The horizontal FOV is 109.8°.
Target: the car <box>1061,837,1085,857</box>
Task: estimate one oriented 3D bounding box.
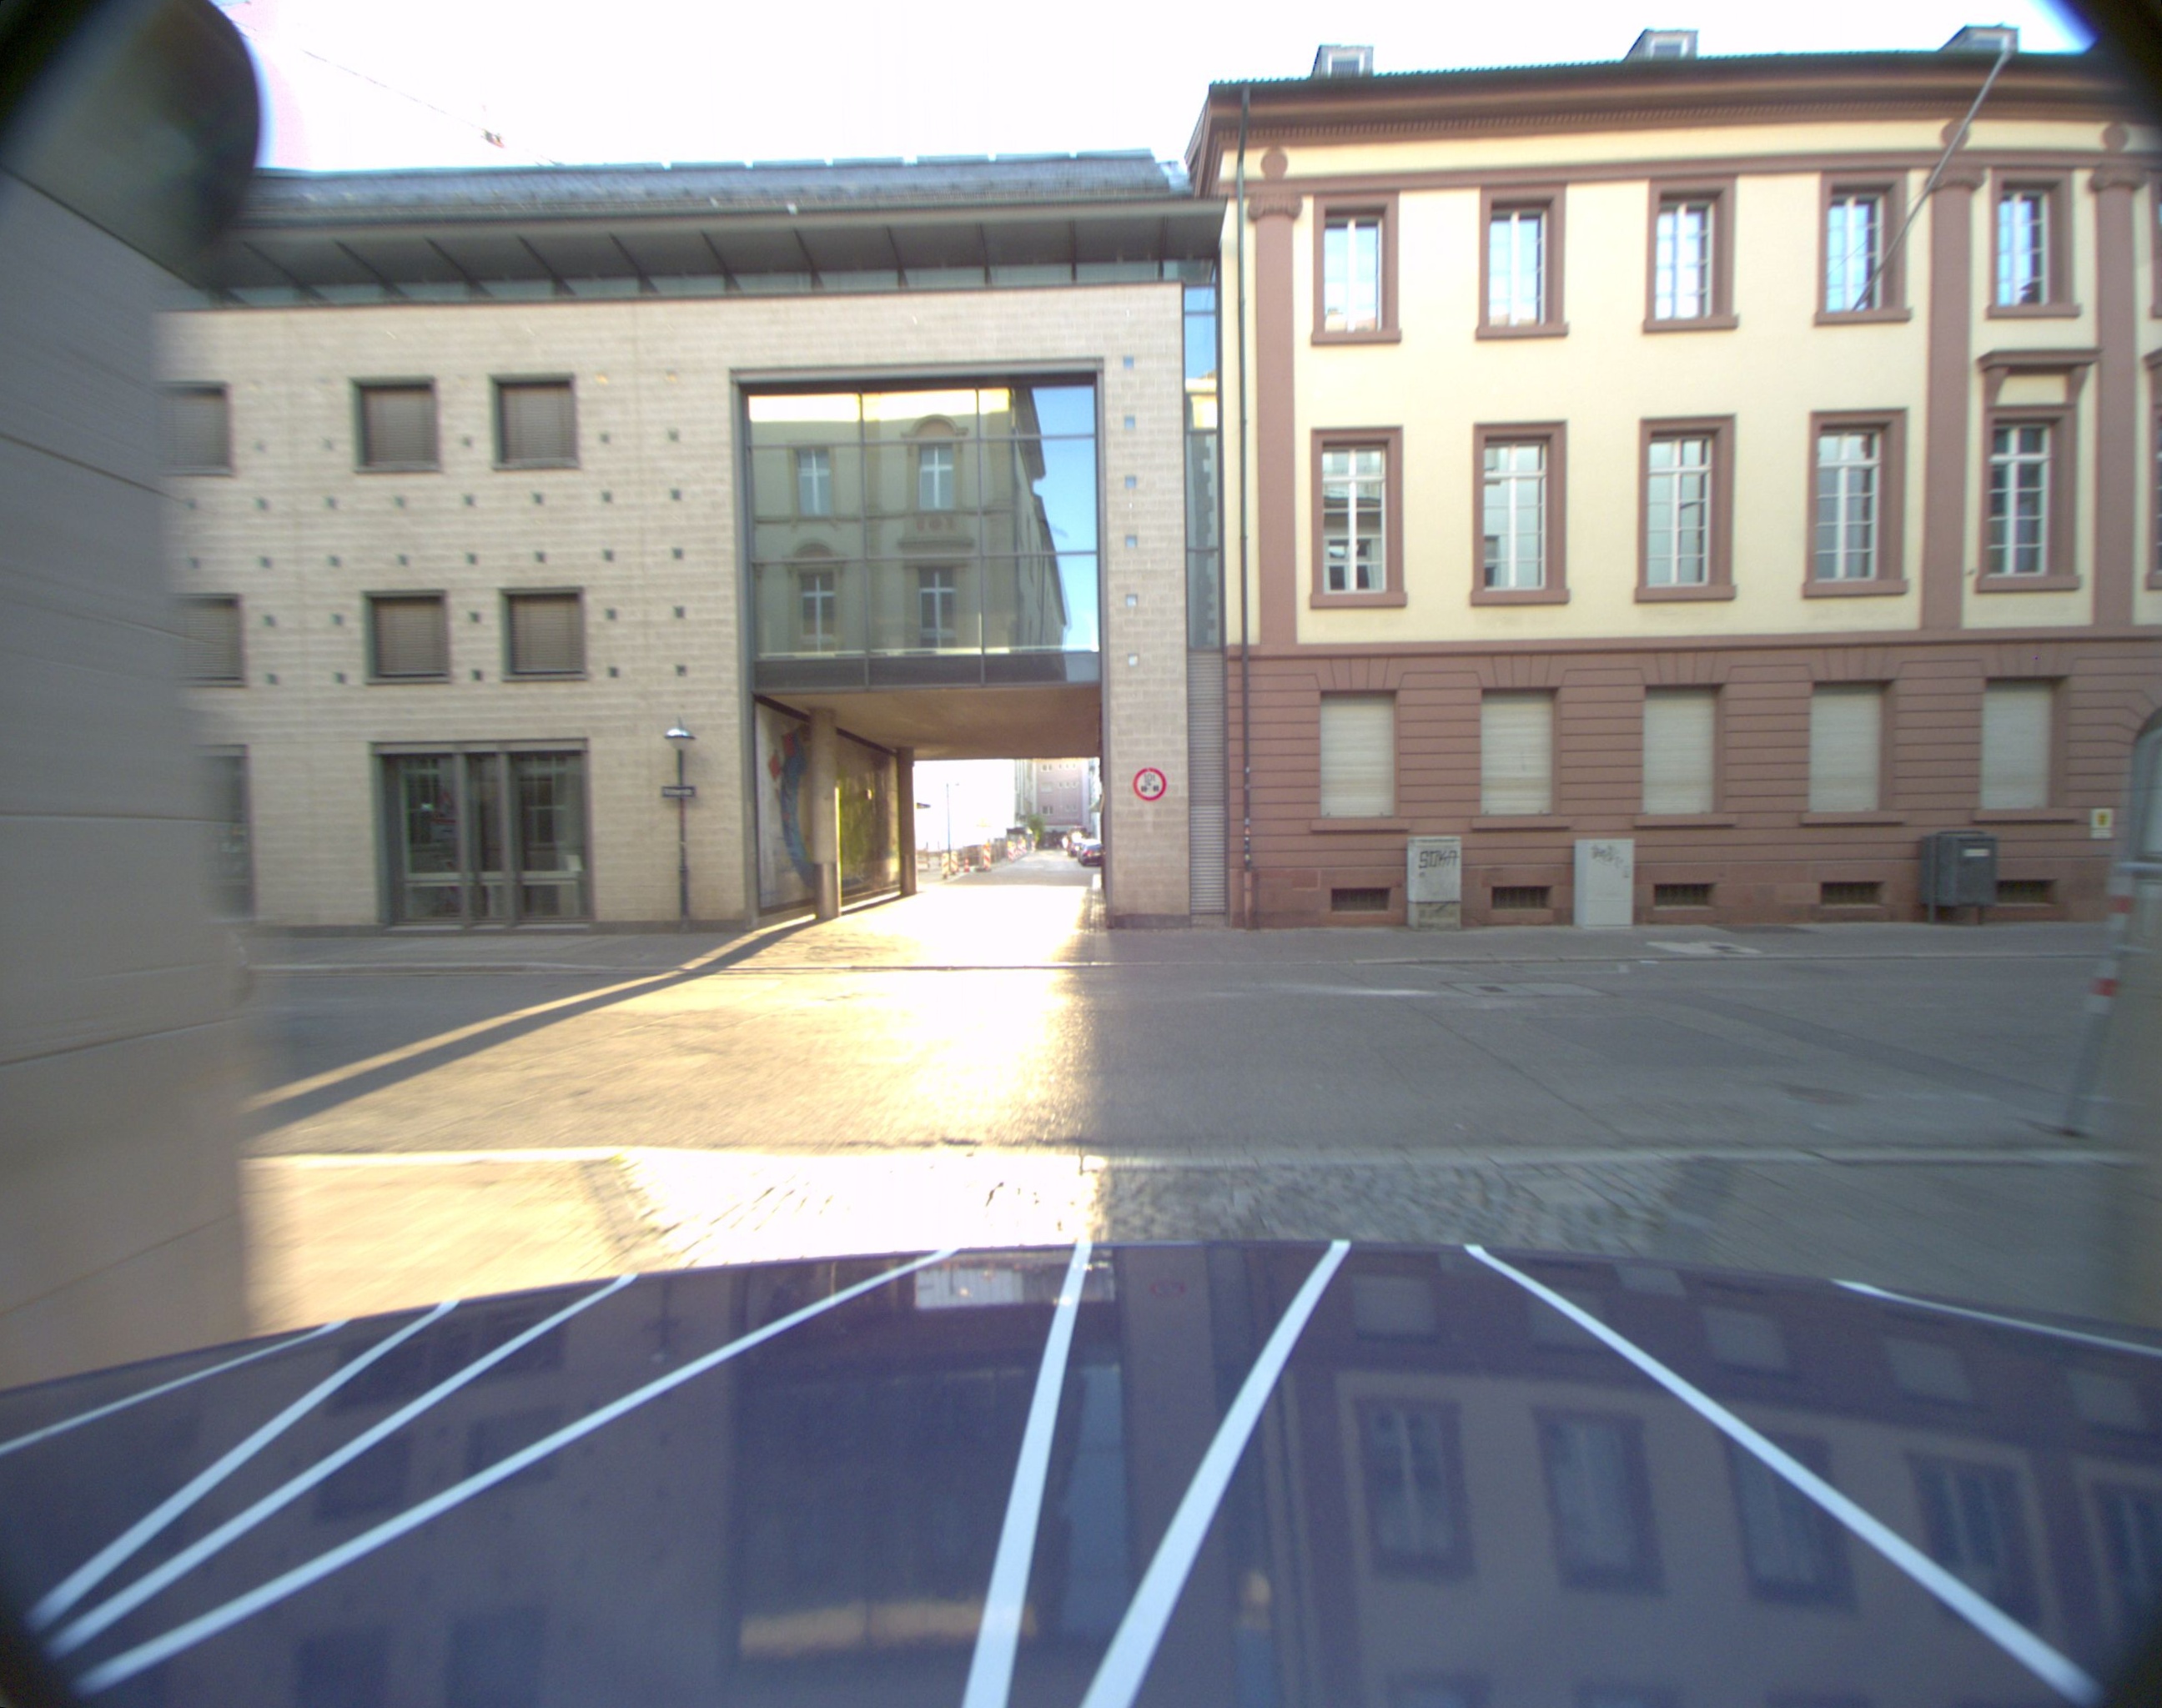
[{"bbox_3d":[-0.697,-0.620,63.872,1.601,1.485,3.441,-1,3,-6],"label":"car"}]

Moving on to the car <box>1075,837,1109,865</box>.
[{"bbox_3d":[0.597,-0.223,44.915,1.601,1.485,3.441,-1,3,-6],"label":"car"}]

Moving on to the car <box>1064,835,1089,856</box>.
[{"bbox_3d":[-0.365,-0.668,58.703,1.601,1.485,3.441,-1,3,-6],"label":"car"}]

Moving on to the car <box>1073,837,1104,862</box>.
[{"bbox_3d":[0.472,-0.311,48.979,1.601,1.485,3.441,-1,3,-6],"label":"car"}]
